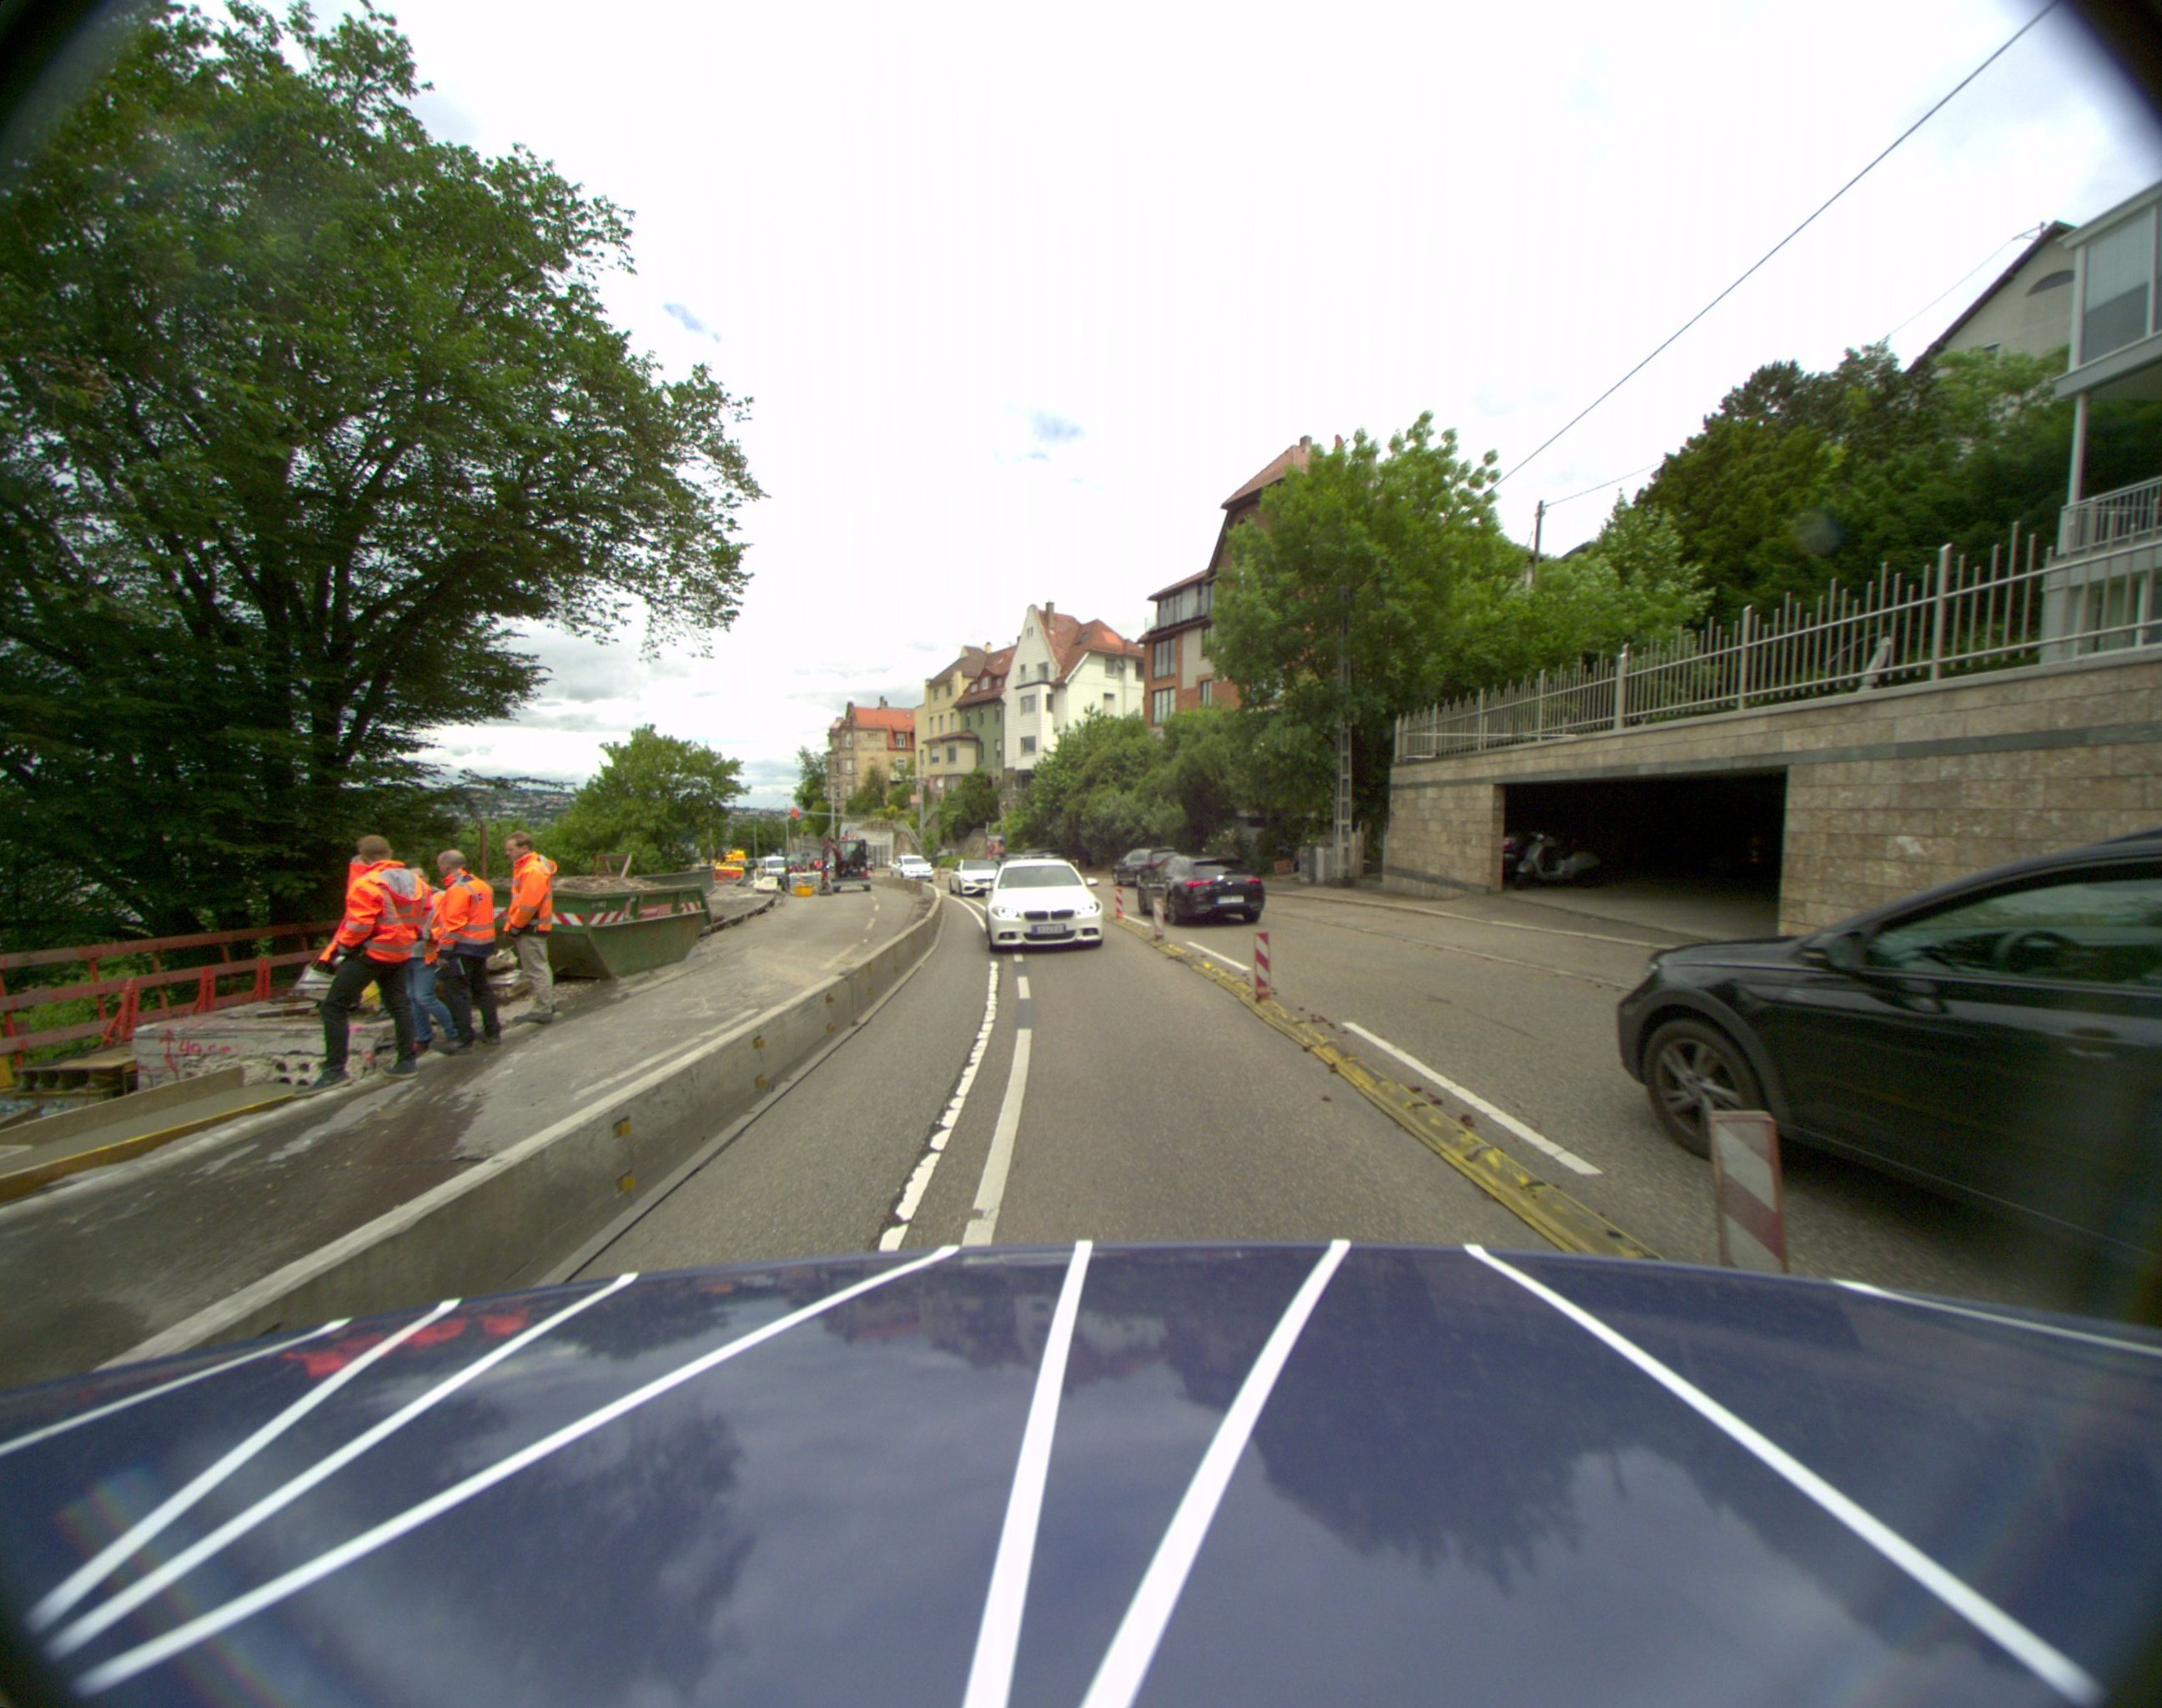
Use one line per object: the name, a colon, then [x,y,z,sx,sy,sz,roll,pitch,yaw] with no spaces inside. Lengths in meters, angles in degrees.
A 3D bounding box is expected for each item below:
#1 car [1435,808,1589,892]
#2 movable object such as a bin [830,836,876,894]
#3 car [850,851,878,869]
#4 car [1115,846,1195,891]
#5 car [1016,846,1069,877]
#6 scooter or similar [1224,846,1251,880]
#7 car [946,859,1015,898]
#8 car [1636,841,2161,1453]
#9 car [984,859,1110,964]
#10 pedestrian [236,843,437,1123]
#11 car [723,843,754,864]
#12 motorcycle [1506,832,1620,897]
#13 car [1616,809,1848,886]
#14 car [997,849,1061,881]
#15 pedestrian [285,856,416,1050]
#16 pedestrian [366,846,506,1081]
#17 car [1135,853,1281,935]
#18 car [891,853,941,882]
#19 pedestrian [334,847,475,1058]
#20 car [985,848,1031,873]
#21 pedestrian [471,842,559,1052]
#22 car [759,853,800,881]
car: [9.711,-0.188,17.450,1.572,1.596,3.585,-2,5,2]
movable object such as a bin: [-10.864,0.483,36.167,1.866,2.580,3.435,-2,1,-18]
car: [-19.386,0.539,67.837,1.694,1.499,3.655,-3,1,-26]
car: [2.776,0.519,29.326,1.825,1.426,3.710,-6,2,-15]
car: [-2.247,0.409,43.752,1.771,1.587,3.784,-6,2,-22]
scooter or similar: [5.928,0.334,28.774,0.406,1.250,0.962,-6,3,-26]
car: [-4.009,0.901,29.788,1.801,1.299,4.092,0,1,-20]
car: [3.654,0.756,1.798,1.763,1.520,3.910,-3,0,0]
car: [-0.813,0.885,14.000,1.853,1.458,4.875,-2,1,-7]
pedestrian: [-5.291,0.858,5.460,0.640,1.848,0.834,2,1,-9]
car: [-36.144,-0.062,80.116,2.003,2.089,4.059,-3,1,-39]
motorcycle: [9.657,0.203,15.269,1.842,1.177,0.636,-2,5,5]
car: [14.551,-0.241,17.354,1.746,1.444,3.996,0,5,-1]
car: [-2.658,0.544,37.825,1.803,1.462,4.192,-2,0,-24]
pedestrian: [-7.204,0.935,7.533,0.647,1.784,0.642,-4,2,-24]
pedestrian: [-5.346,0.862,6.344,0.527,1.832,0.796,2,1,-9]
car: [2.559,0.745,16.433,1.869,1.445,4.215,-2,1,-8]
car: [-9.798,0.756,44.912,1.889,1.569,3.991,-3,1,-26]
pedestrian: [-6.454,0.904,7.287,0.731,1.880,0.618,-4,0,-16]
car: [-4.762,0.418,49.146,1.685,1.409,3.783,-6,2,-26]
pedestrian: [-5.420,0.843,7.273,0.620,1.873,0.717,1,-2,-38]
car: [-19.446,0.834,48.956,1.796,1.676,3.990,-3,1,-31]
